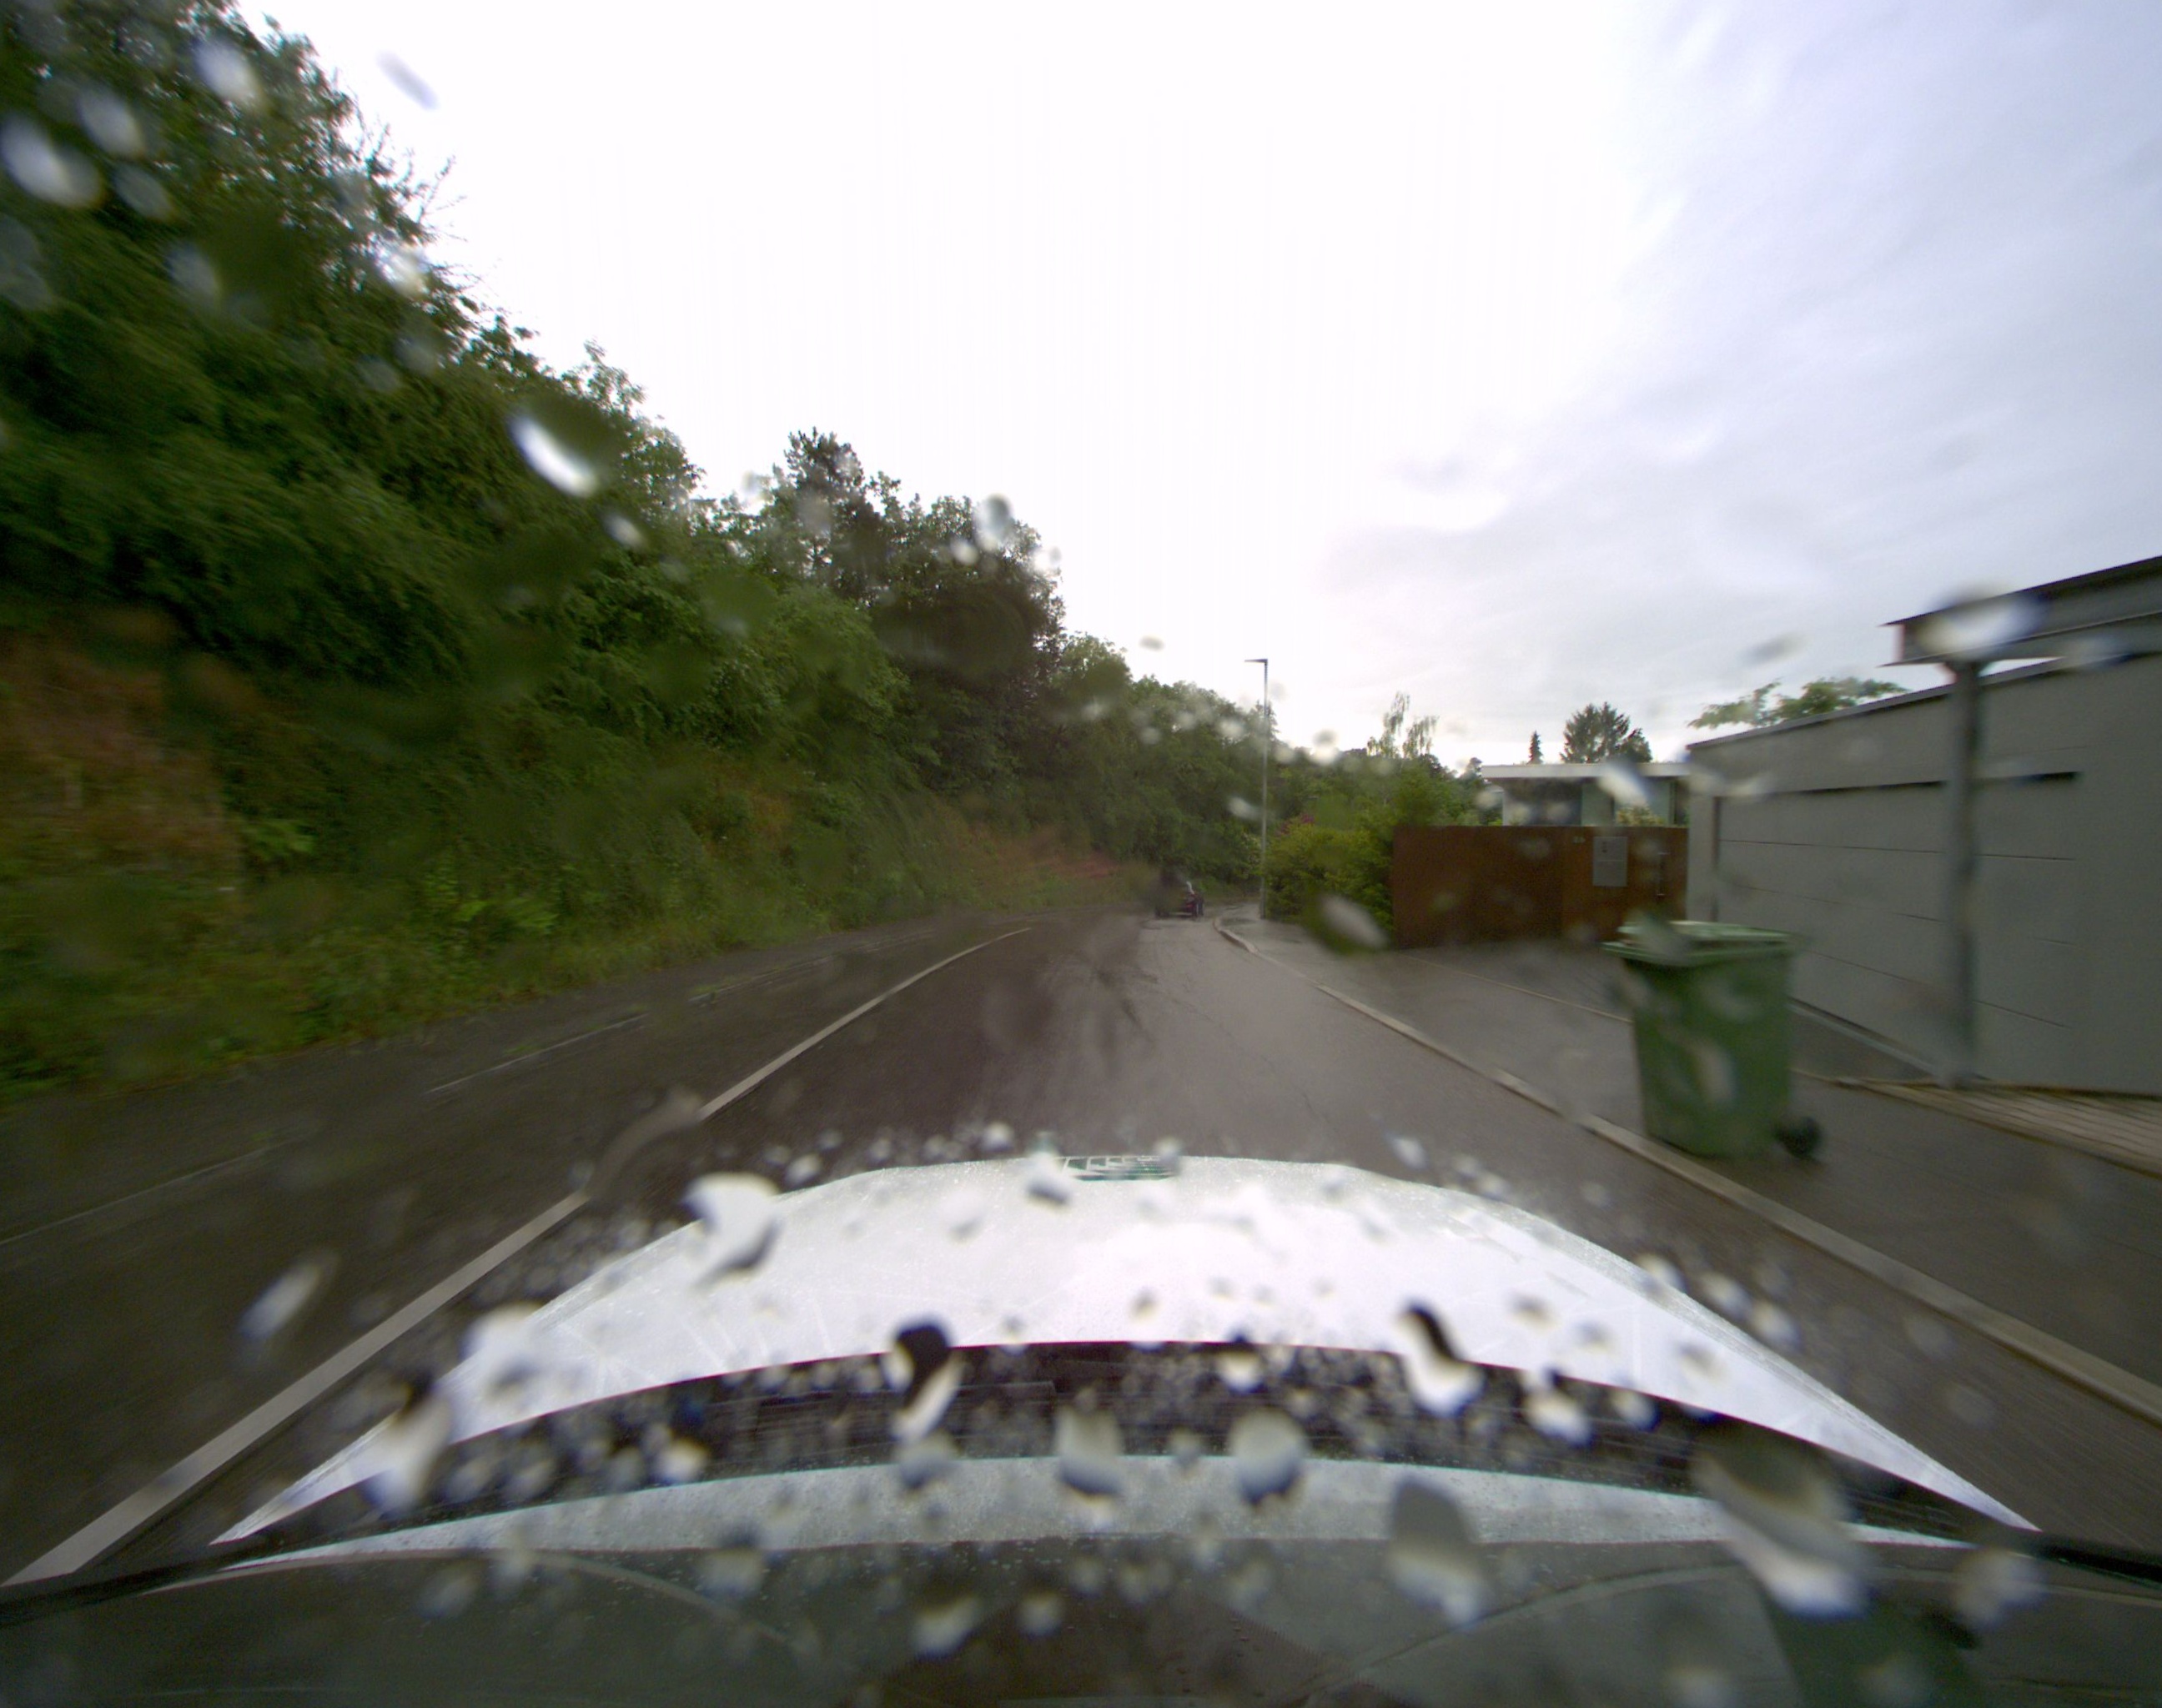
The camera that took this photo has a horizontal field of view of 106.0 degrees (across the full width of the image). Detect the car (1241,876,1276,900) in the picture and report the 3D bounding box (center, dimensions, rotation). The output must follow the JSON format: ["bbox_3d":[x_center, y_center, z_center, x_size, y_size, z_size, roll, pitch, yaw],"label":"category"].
[{"bbox_3d":[14.552,2.728,66.594,1.976,1.605,4.433,1,2,22],"label":"car"}]

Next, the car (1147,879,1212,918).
[{"bbox_3d":[4.152,1.817,33.899,1.853,1.512,4.111,0,-2,19],"label":"car"}]

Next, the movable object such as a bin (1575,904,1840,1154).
[{"bbox_3d":[3.203,0.858,4.235,0.787,1.095,0.675,-4,-1,-1],"label":"movable object such as a bin"}]
